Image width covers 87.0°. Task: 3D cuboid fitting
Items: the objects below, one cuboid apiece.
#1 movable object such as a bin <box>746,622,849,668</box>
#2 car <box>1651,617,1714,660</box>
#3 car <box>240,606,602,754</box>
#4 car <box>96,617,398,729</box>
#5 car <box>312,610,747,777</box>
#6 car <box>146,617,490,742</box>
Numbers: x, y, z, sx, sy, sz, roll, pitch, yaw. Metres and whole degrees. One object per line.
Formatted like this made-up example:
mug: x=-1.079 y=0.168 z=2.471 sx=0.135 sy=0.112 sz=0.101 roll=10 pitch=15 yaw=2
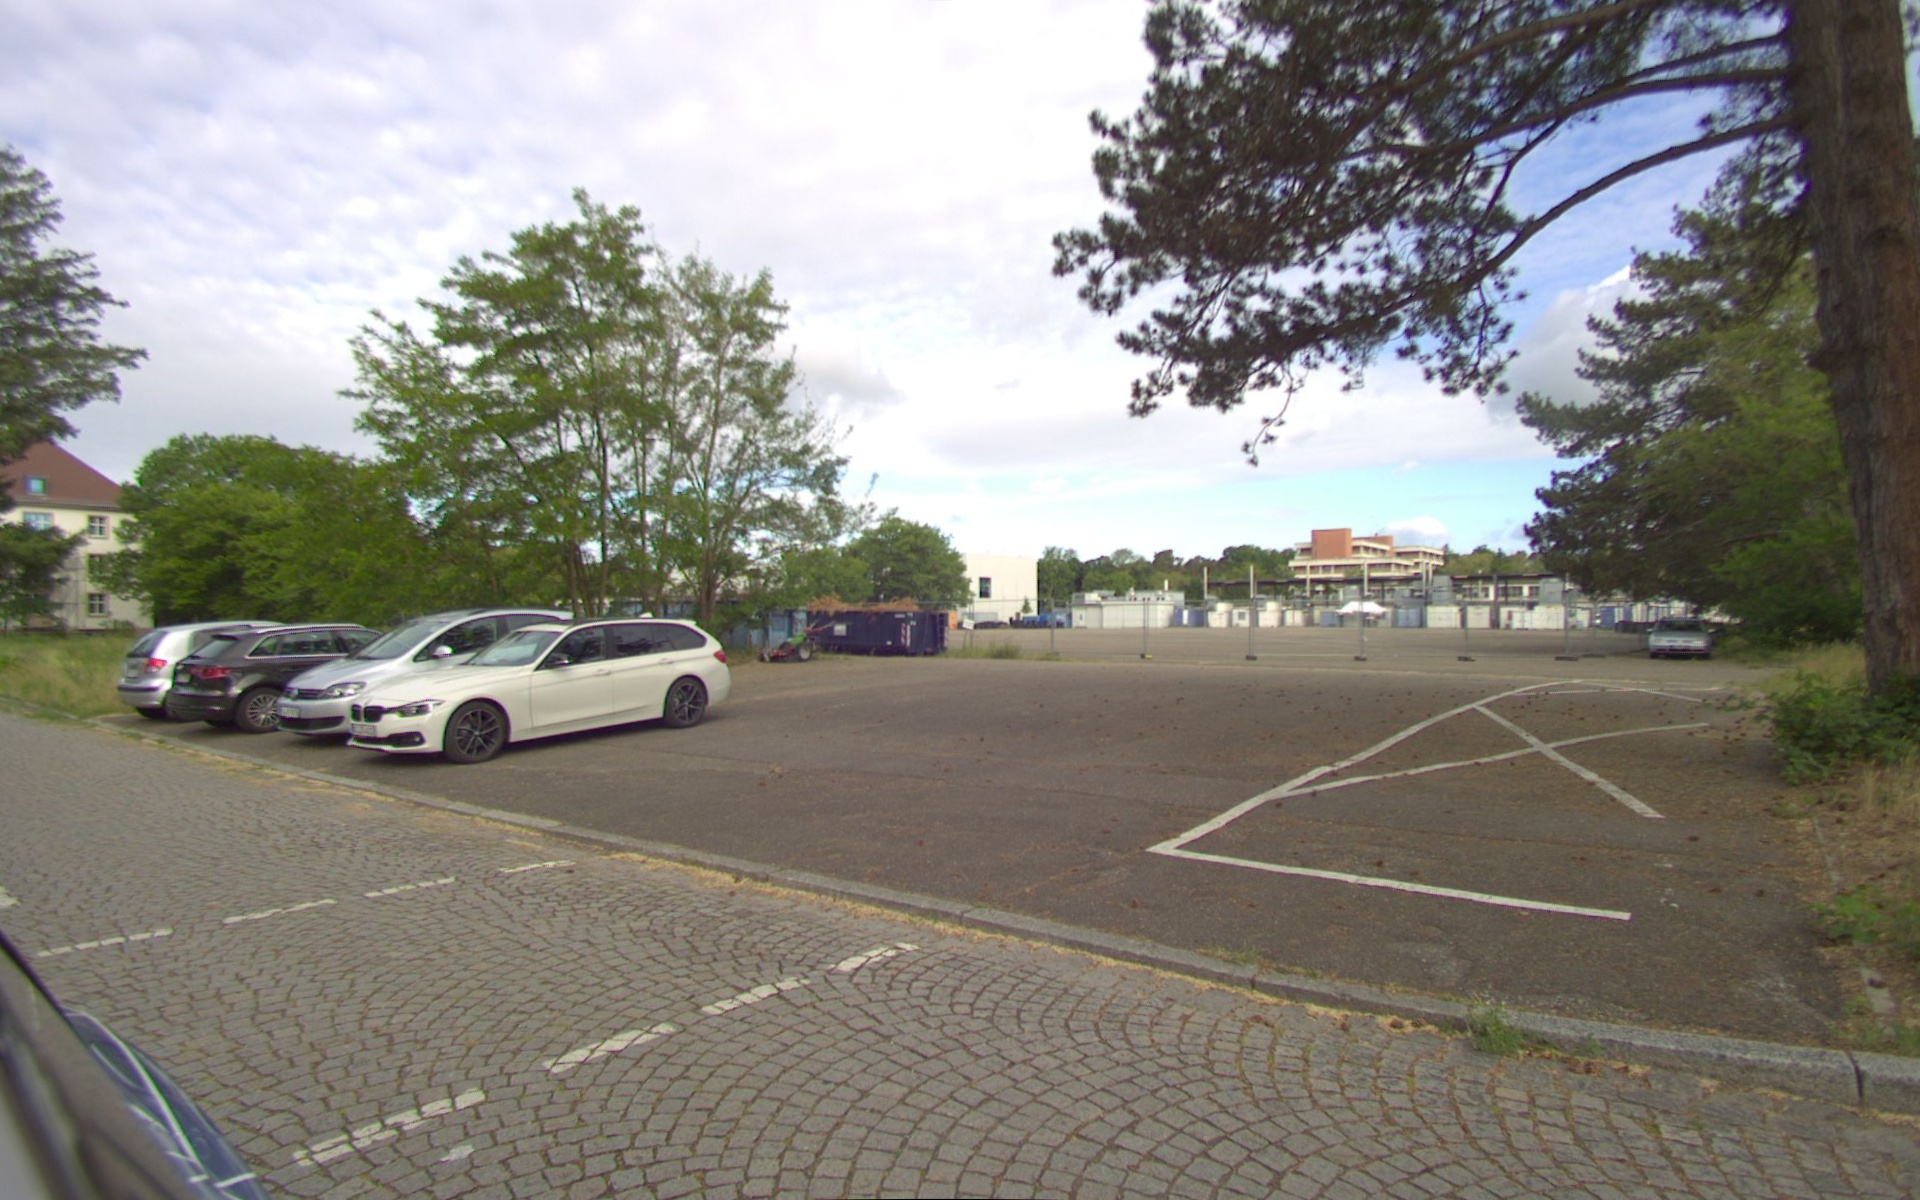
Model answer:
movable object such as a bin: x=-4.442 y=1.203 z=27.776 sx=1.500 sy=1.170 sz=2.365 roll=-1 pitch=-2 yaw=43
car: x=25.217 y=1.313 z=35.322 sx=1.694 sy=1.403 sz=3.951 roll=-1 pitch=-1 yaw=36
car: x=-7.080 y=0.938 z=13.682 sx=1.719 sy=1.559 sz=3.955 roll=-1 pitch=1 yaw=33
car: x=-11.617 y=1.103 z=16.704 sx=1.803 sy=1.463 sz=3.648 roll=-1 pitch=1 yaw=33
car: x=-4.931 y=0.947 z=12.285 sx=1.797 sy=1.454 sz=4.609 roll=-1 pitch=1 yaw=34
car: x=-9.396 y=1.062 z=15.087 sx=1.748 sy=1.438 sz=3.951 roll=-1 pitch=1 yaw=37
